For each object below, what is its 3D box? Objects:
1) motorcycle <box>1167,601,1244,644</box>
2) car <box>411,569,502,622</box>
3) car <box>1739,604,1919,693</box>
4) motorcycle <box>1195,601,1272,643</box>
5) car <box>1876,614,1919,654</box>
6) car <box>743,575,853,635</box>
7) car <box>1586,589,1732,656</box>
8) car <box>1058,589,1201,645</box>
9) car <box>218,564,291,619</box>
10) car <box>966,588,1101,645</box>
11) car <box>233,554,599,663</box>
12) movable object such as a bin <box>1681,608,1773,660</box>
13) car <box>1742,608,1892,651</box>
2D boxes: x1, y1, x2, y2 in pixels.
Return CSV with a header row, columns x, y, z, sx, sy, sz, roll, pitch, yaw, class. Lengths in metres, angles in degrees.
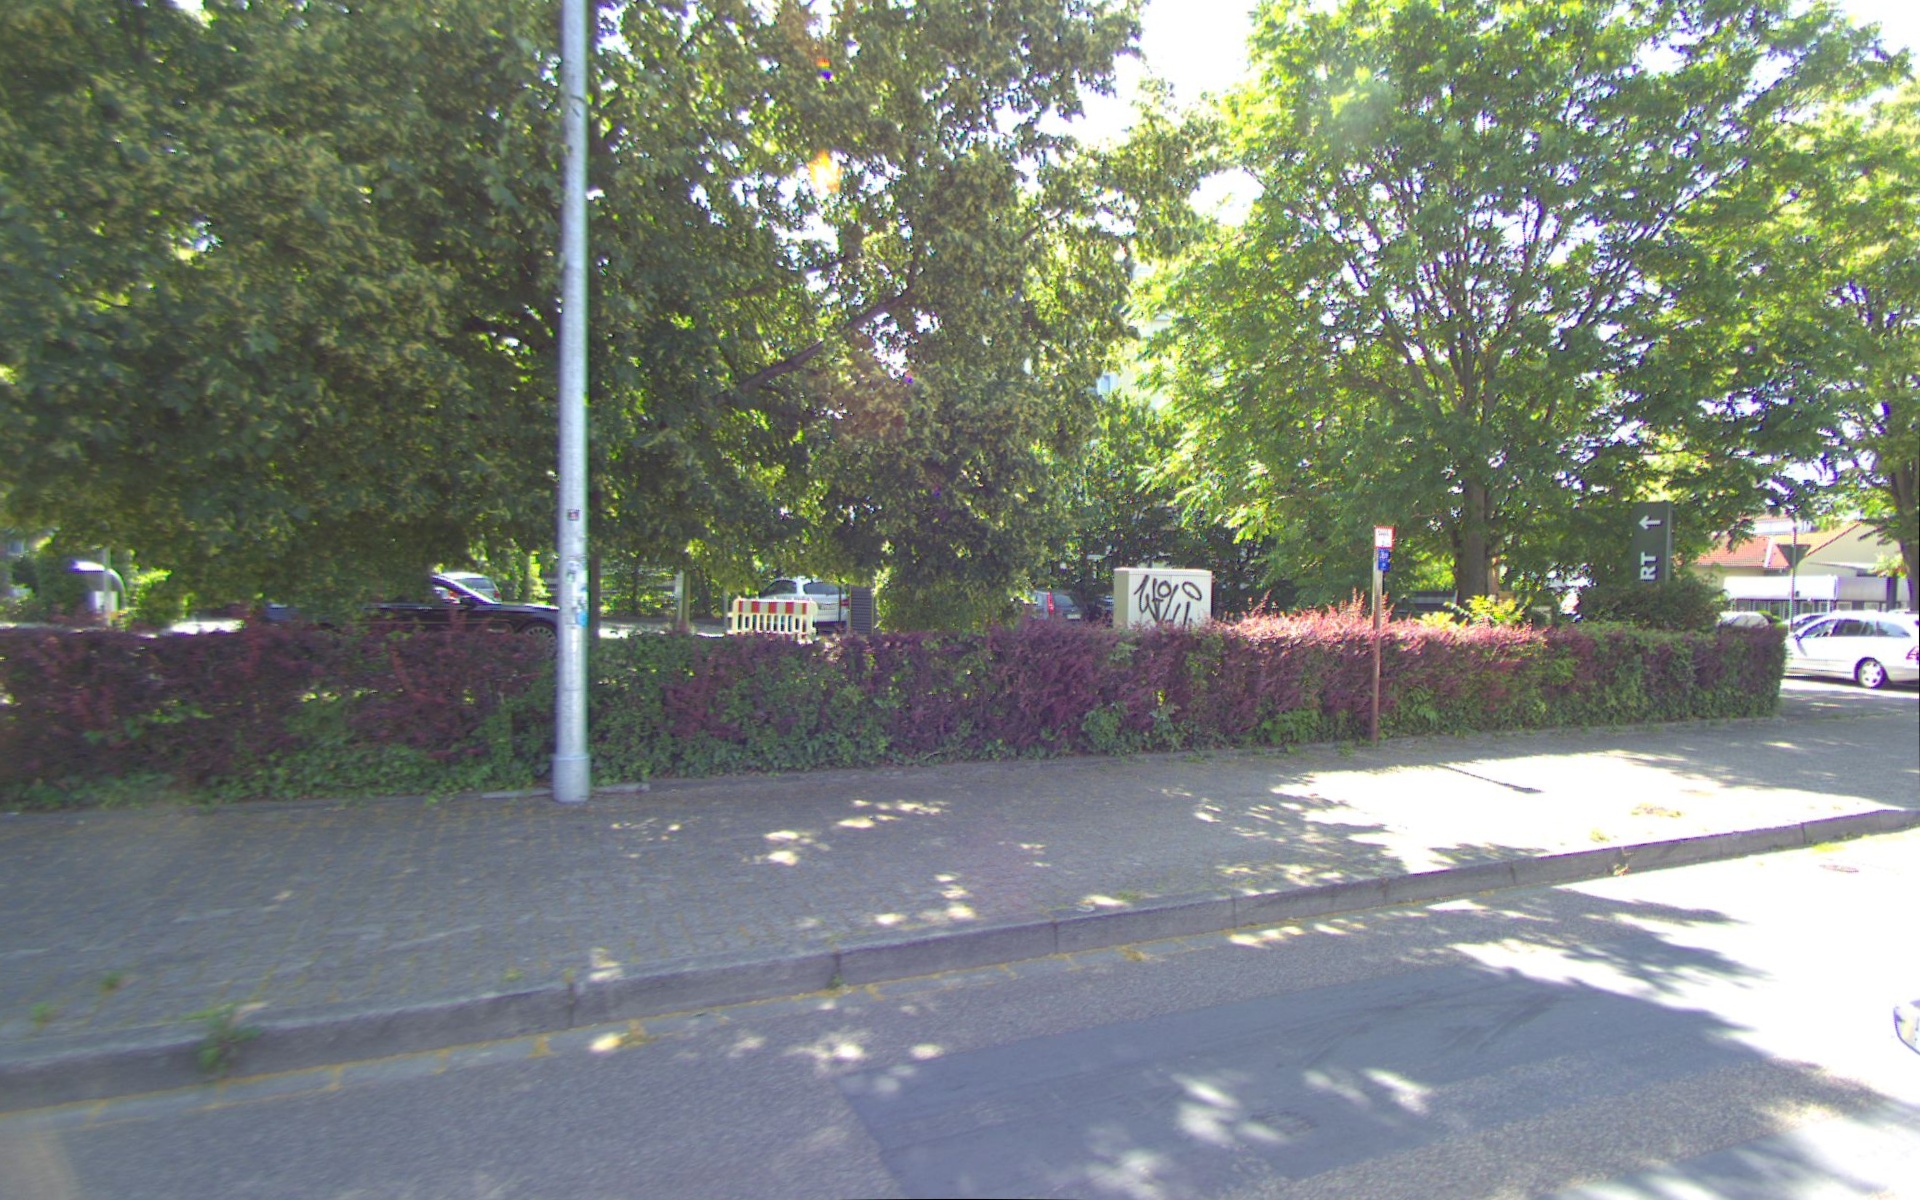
x,y,z,sx,sy,sz,roll,pitch,yaw,class
7.267,0.649,29.842,2.149,1.131,0.567,3,2,38,motorcycle
-15.477,-0.179,30.794,1.778,1.470,4.003,0,2,-37,car
17.703,0.865,19.704,1.679,1.423,4.387,0,2,5,car
8.160,0.648,30.074,2.149,1.147,0.567,3,2,38,motorcycle
41.911,1.438,43.050,4.613,1.596,1.907,0,0,-19,car
-4.899,0.118,30.031,1.628,1.609,3.807,0,2,-37,car
22.092,0.776,31.987,1.854,1.945,4.529,-1,-3,7,car
4.859,0.436,29.266,1.753,1.406,4.053,0,2,-36,car
-22.299,-0.294,31.757,1.802,1.598,3.830,0,2,-35,car
2.020,0.428,28.616,1.612,1.414,4.029,0,2,-36,car
-8.599,0.159,16.430,4.959,1.581,2.063,1,1,-23,car
24.047,1.058,31.529,1.428,1.546,1.774,-2,-1,-6,movable object such as a bin
39.499,1.320,46.433,4.797,1.867,2.162,1,0,21,car
